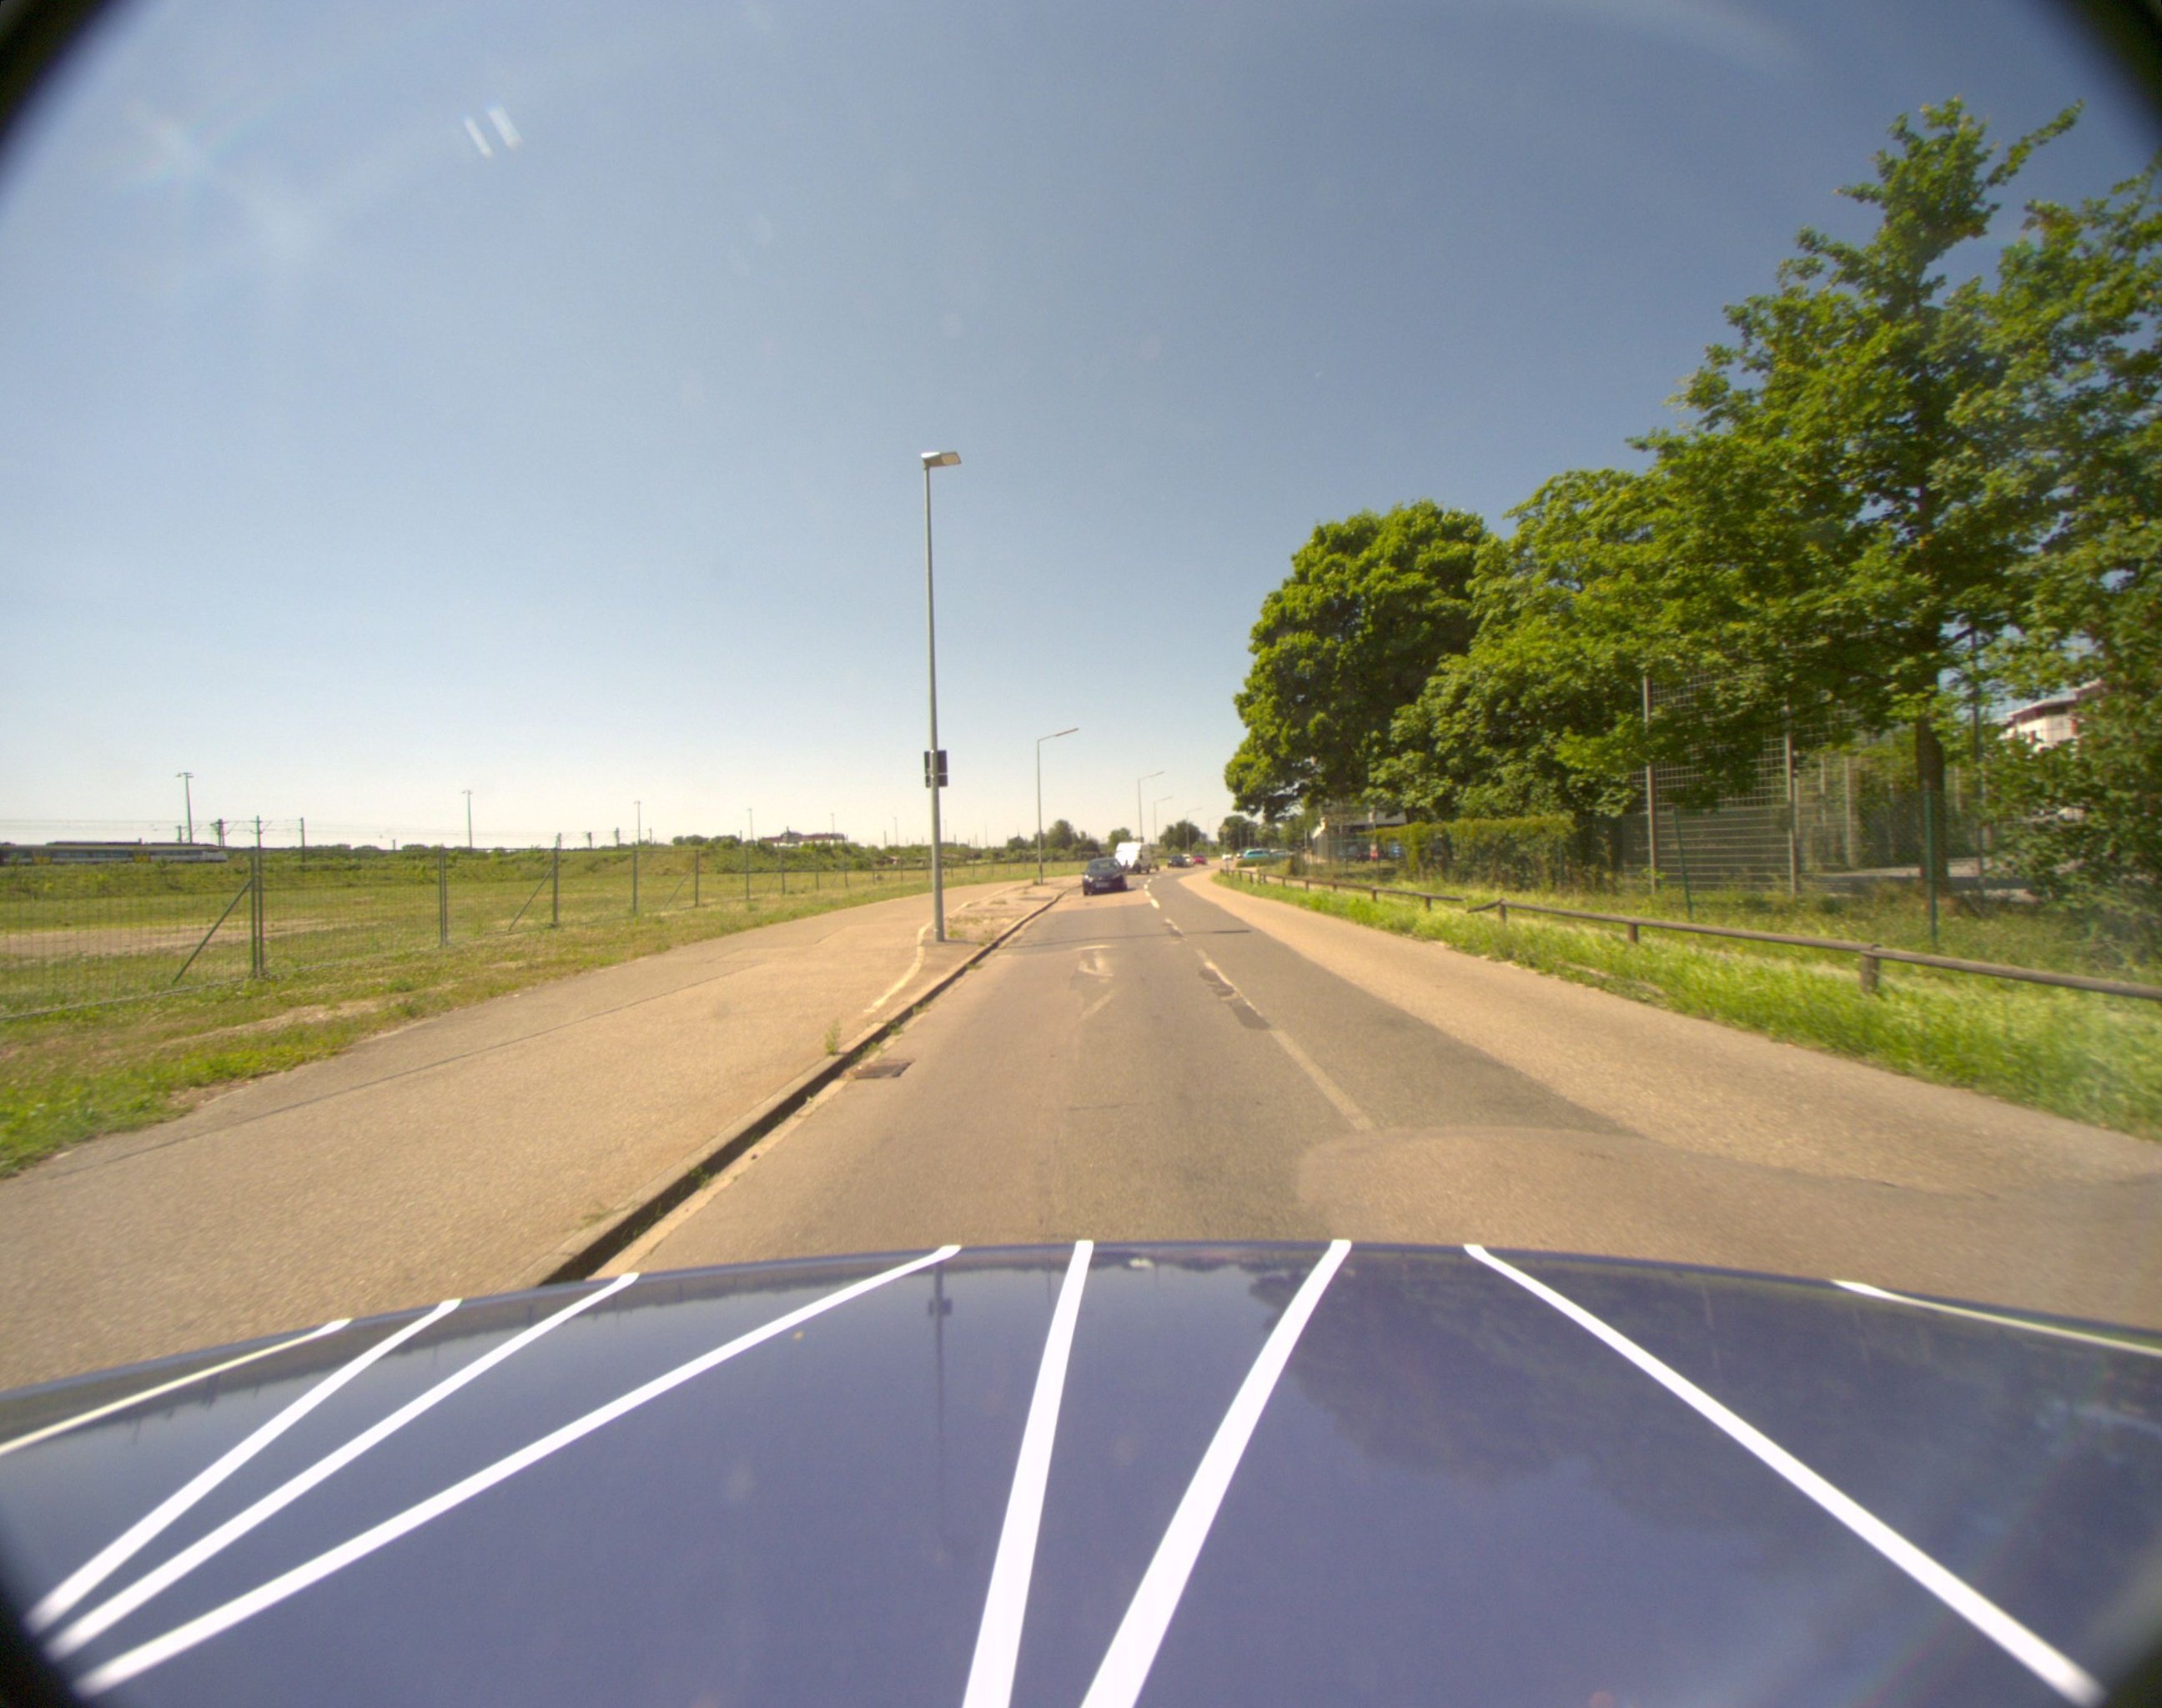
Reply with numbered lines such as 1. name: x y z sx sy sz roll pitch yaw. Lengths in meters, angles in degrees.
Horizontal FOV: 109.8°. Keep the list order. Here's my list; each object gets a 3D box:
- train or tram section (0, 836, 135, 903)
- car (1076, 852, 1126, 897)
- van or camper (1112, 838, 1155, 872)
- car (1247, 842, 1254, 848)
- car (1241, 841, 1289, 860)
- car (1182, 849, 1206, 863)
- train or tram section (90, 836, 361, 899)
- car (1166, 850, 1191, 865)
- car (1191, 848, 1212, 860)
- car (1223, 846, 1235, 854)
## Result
1. train or tram section: -164.389 2.651 102.771 9.582 9.868 44.833 -3 0 16
2. car: 0.874 0.772 30.727 1.653 1.458 4.160 -7 0 4
3. van or camper: 4.309 0.042 61.501 2.138 2.558 5.872 -3 0 16
4. car: 47.242 -2.448 211.723 1.652 1.458 3.870 -3 0 17
5. car: 16.917 -0.331 69.876 3.991 1.543 1.893 -3 1 21
6. car: 13.232 0.234 88.662 1.651 1.458 3.872 -2 0 25
7. train or tram section: -153.871 1.903 138.767 9.582 9.868 31.249 -3 0 17
8. car: 10.675 0.410 82.966 1.651 1.458 3.871 -3 0 23
9. car: 15.799 0.002 99.765 1.651 1.458 3.872 -3 0 24
10. car: 27.771 -0.717 142.415 1.652 1.458 3.870 -3 0 17
